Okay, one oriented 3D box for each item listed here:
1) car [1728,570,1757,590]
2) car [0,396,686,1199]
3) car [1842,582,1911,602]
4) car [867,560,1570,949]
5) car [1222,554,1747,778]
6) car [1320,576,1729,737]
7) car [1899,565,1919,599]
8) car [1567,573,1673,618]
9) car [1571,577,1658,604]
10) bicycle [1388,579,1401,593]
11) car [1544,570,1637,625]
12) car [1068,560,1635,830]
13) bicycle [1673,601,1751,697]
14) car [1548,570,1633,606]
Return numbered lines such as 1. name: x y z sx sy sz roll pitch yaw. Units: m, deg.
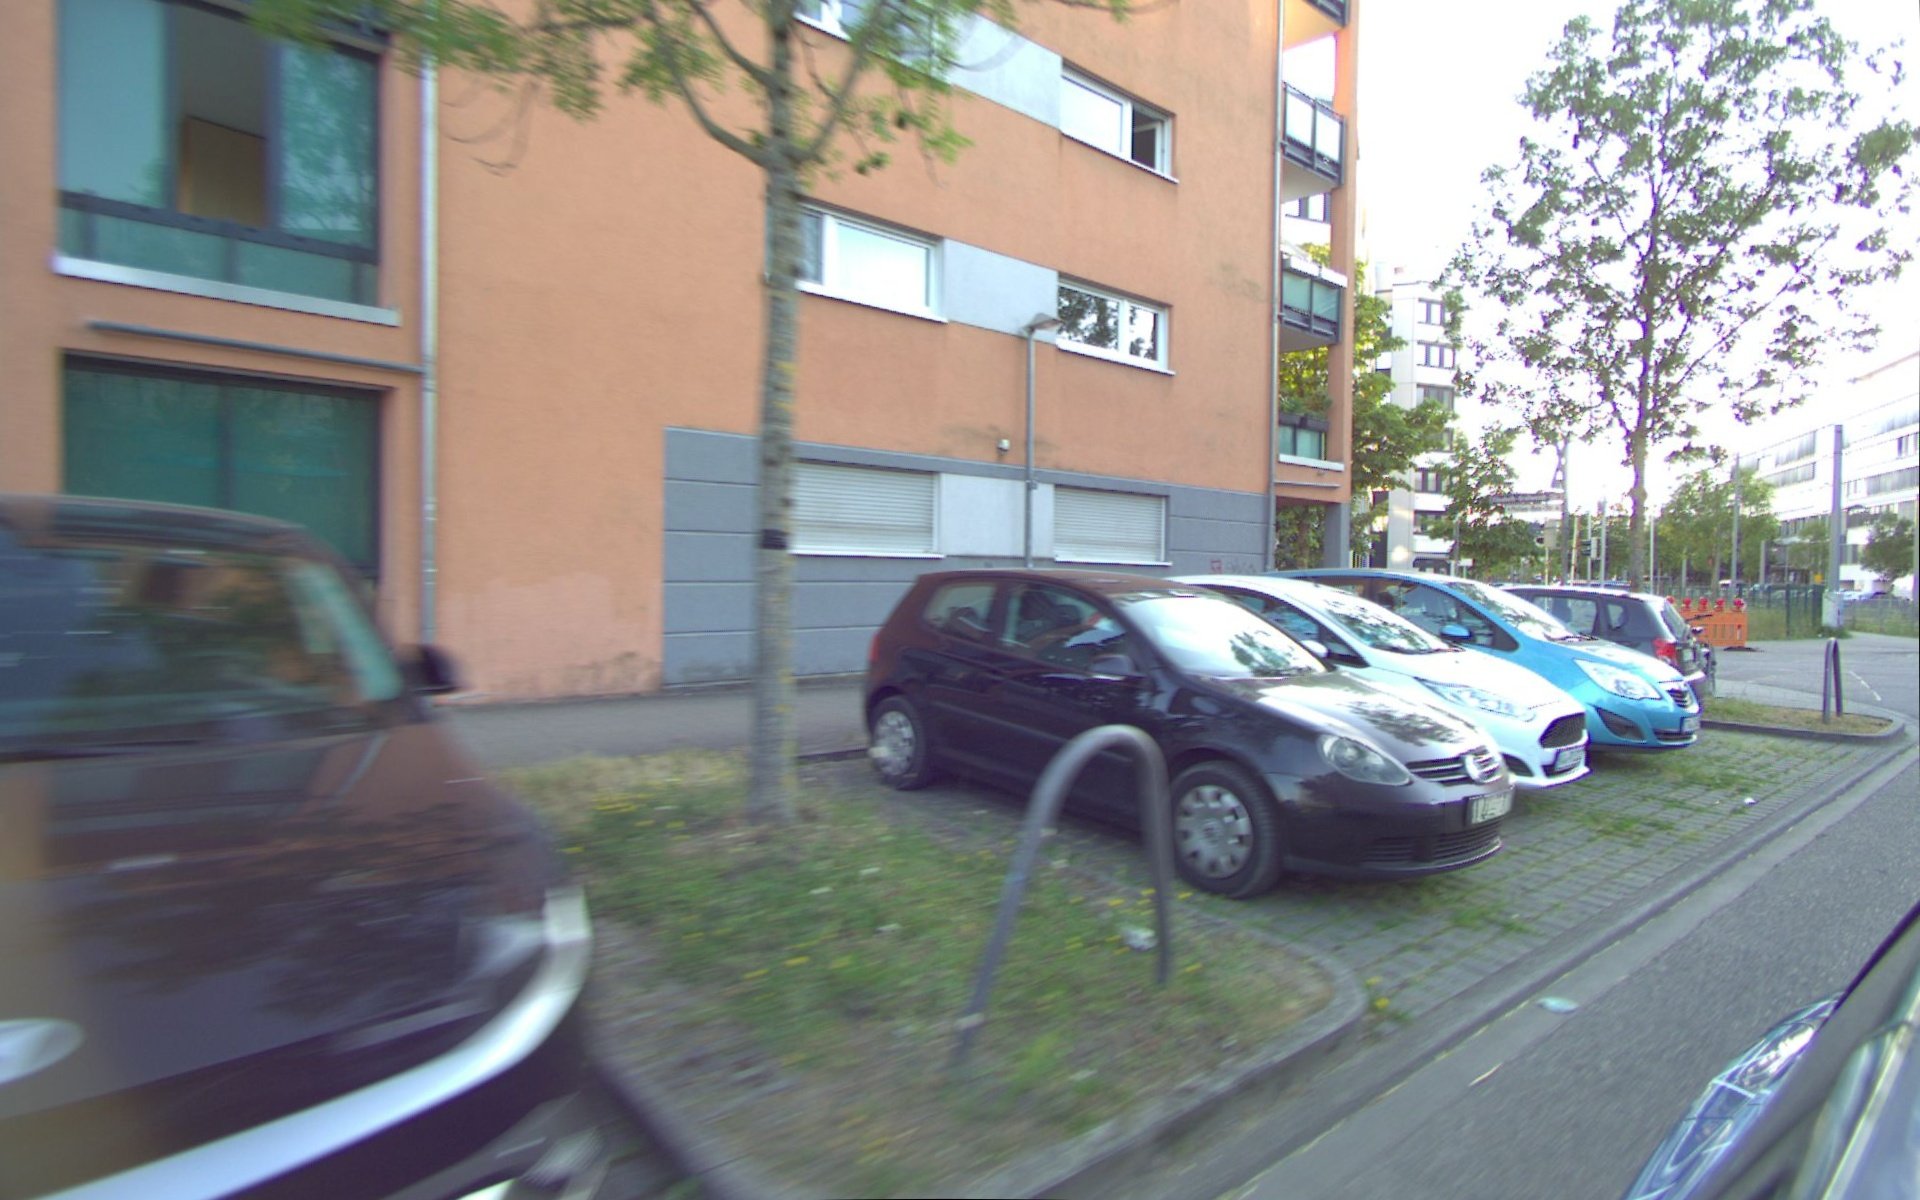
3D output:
1. car: 102.985 -2.648 133.253 1.977 2.617 3.970 1 1 22
2. car: -2.485 0.432 2.779 1.760 1.588 4.227 0 4 -39
3. car: 65.541 -0.600 72.422 3.916 1.393 1.722 0 1 -13
4. car: 1.162 0.555 5.875 1.512 1.514 3.782 1 1 -40
5. car: 4.686 0.413 9.571 1.643 1.588 4.060 0 3 -39
6. car: 6.223 0.498 11.446 1.587 1.492 3.752 0 1 -44
7. car: 82.535 -1.502 86.041 1.985 2.911 6.202 2 2 25
8. car: 30.954 -0.241 47.638 3.963 2.039 1.981 1 1 28
9. car: 41.309 -0.607 63.996 4.361 1.613 1.801 1 1 26
10. bicycle: 30.149 -0.962 70.276 0.806 0.962 2.197 1 2 24
11. car: 24.625 -0.141 39.487 3.930 2.039 1.997 0 1 -41
12. car: 2.801 0.505 7.970 1.591 1.588 3.885 0 2 -39
13. bicycle: 10.213 0.635 13.722 0.716 1.167 1.871 4 1 39
14. car: 36.875 -0.749 59.301 3.960 2.038 1.982 1 1 26
